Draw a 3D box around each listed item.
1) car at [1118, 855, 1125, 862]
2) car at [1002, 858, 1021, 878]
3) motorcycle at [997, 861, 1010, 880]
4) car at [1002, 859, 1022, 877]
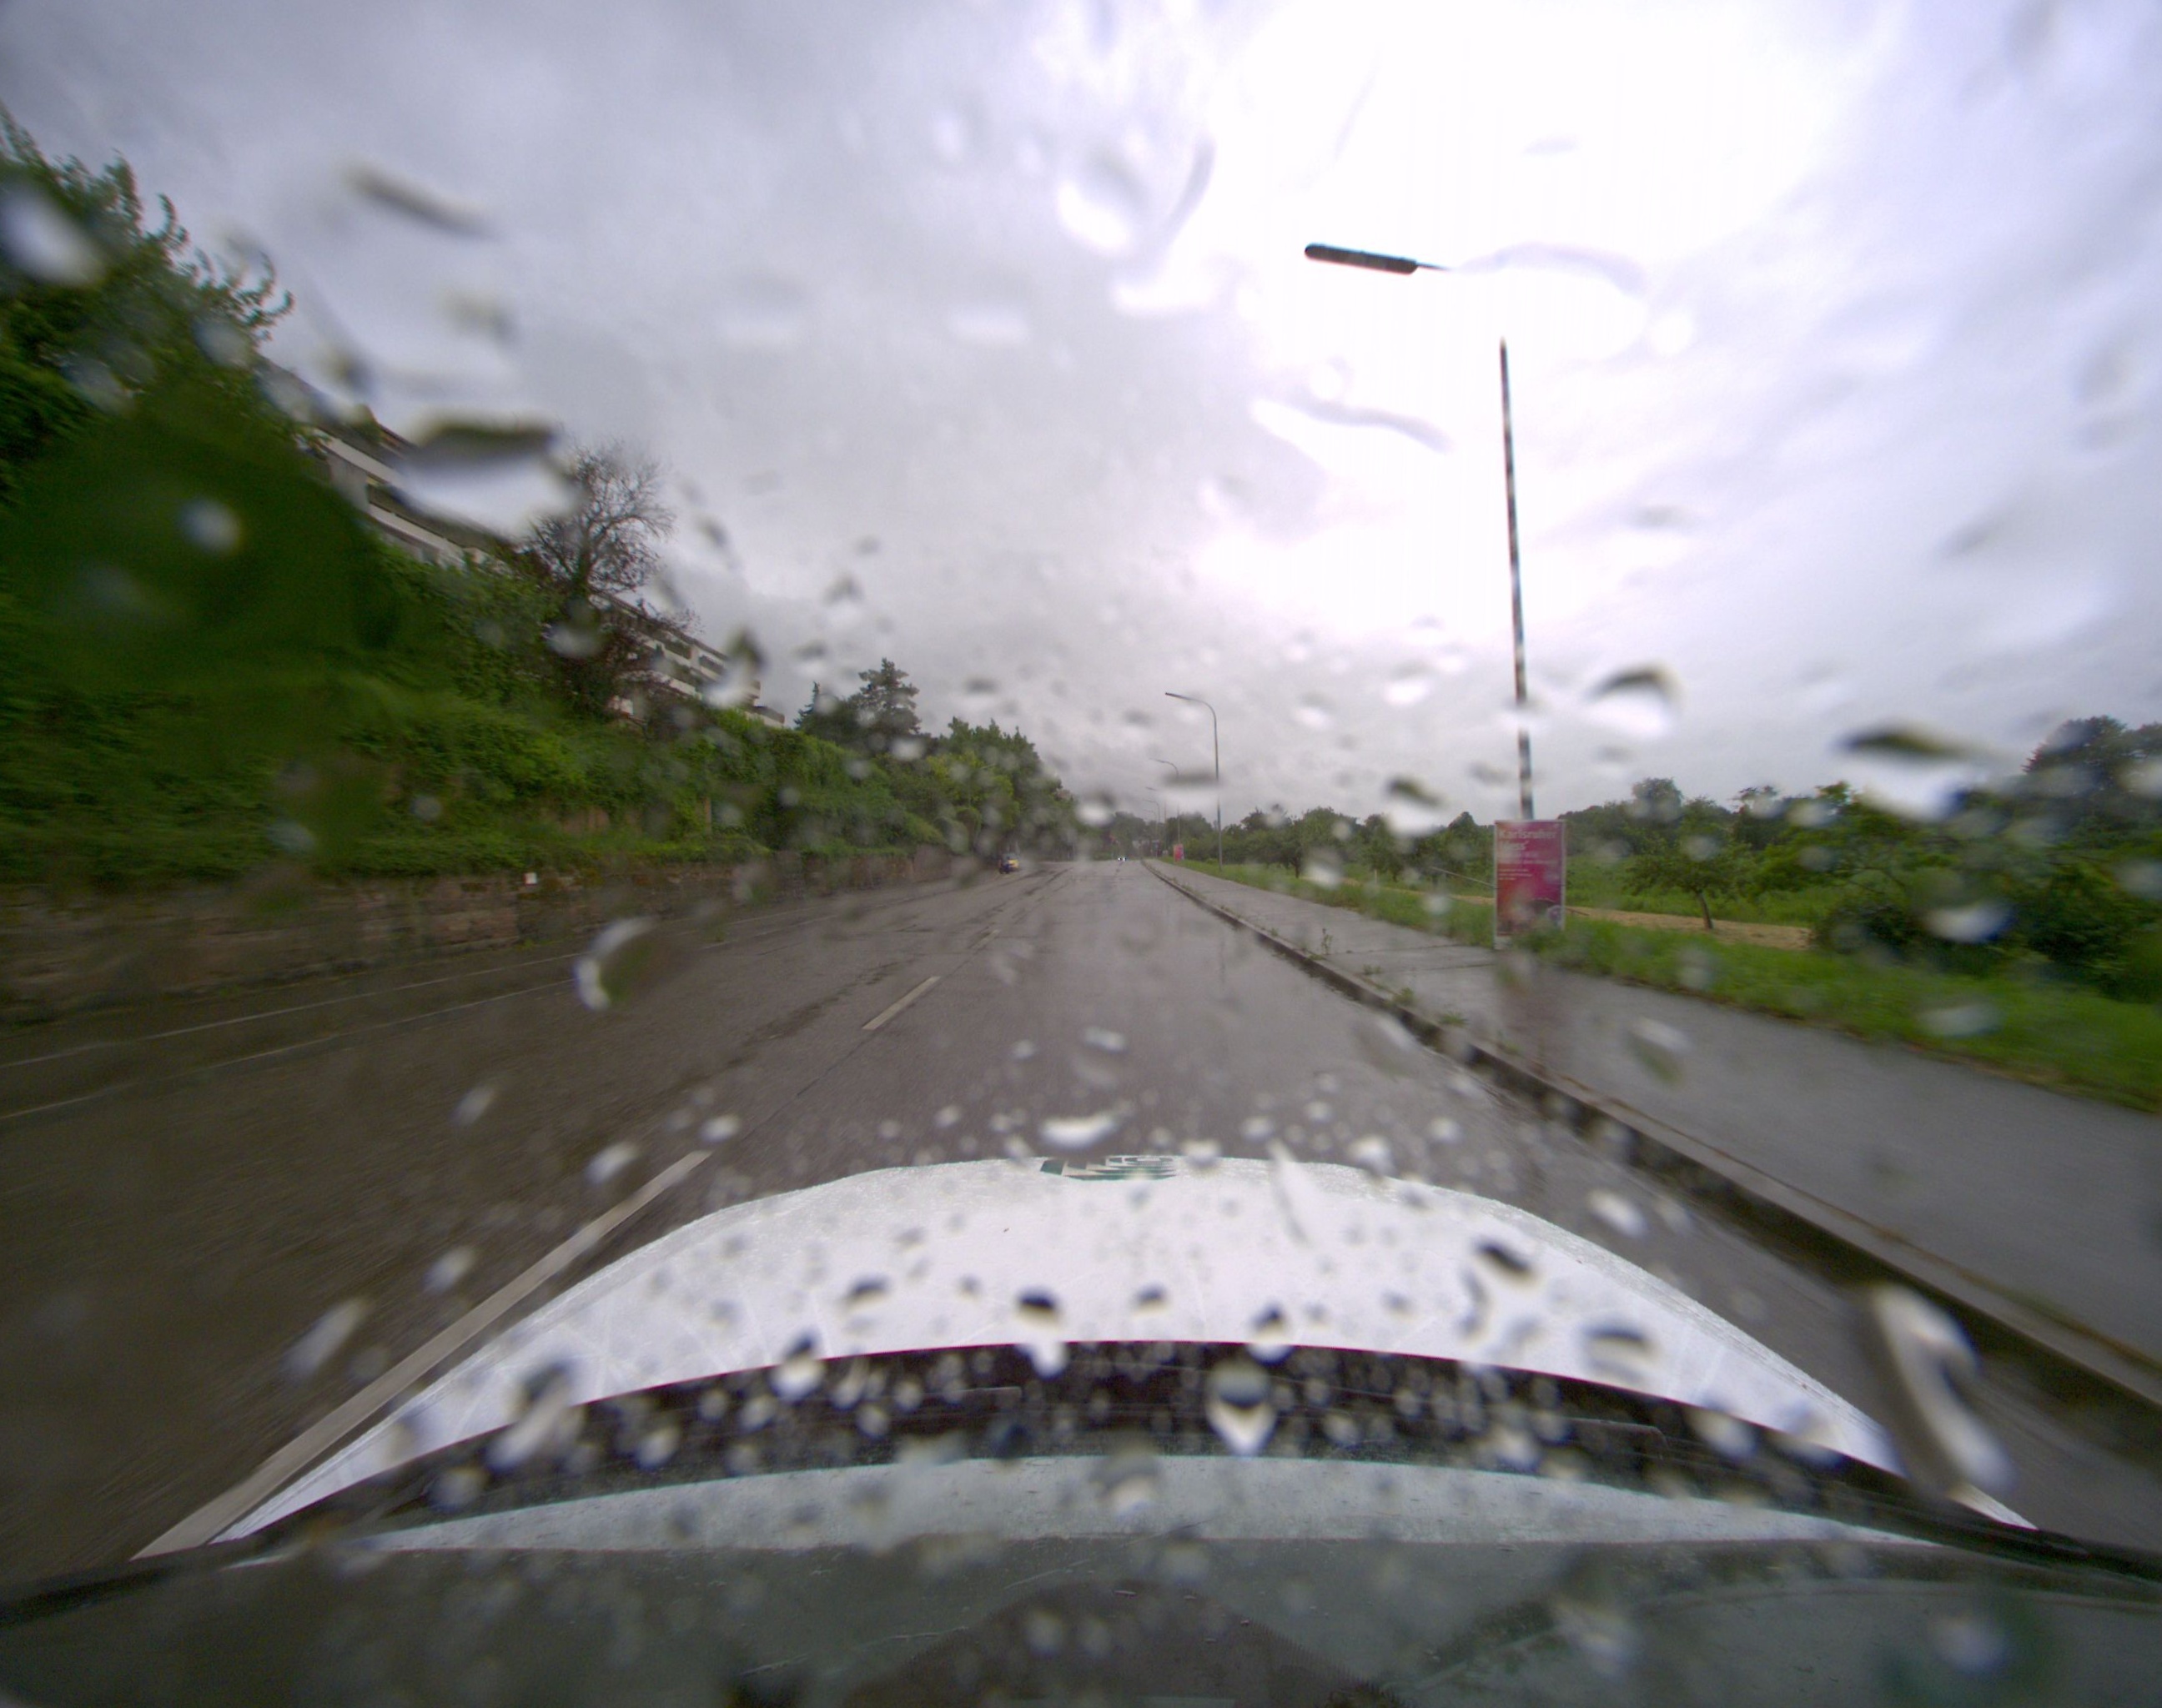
[{"bbox_3d":[11.479,1.233,231.281,1.788,1.762,4.000,-1,0,0],"label":"car"},{"bbox_3d":[-5.671,1.127,65.836,1.431,1.537,2.814,-2,0,-6],"label":"car"},{"bbox_3d":[-5.633,1.173,59.317,0.835,1.341,2.496,-2,0,-4],"label":"motorcycle"},{"bbox_3d":[-5.887,1.158,69.987,1.430,1.419,4.100,-2,0,-2],"label":"car"}]
